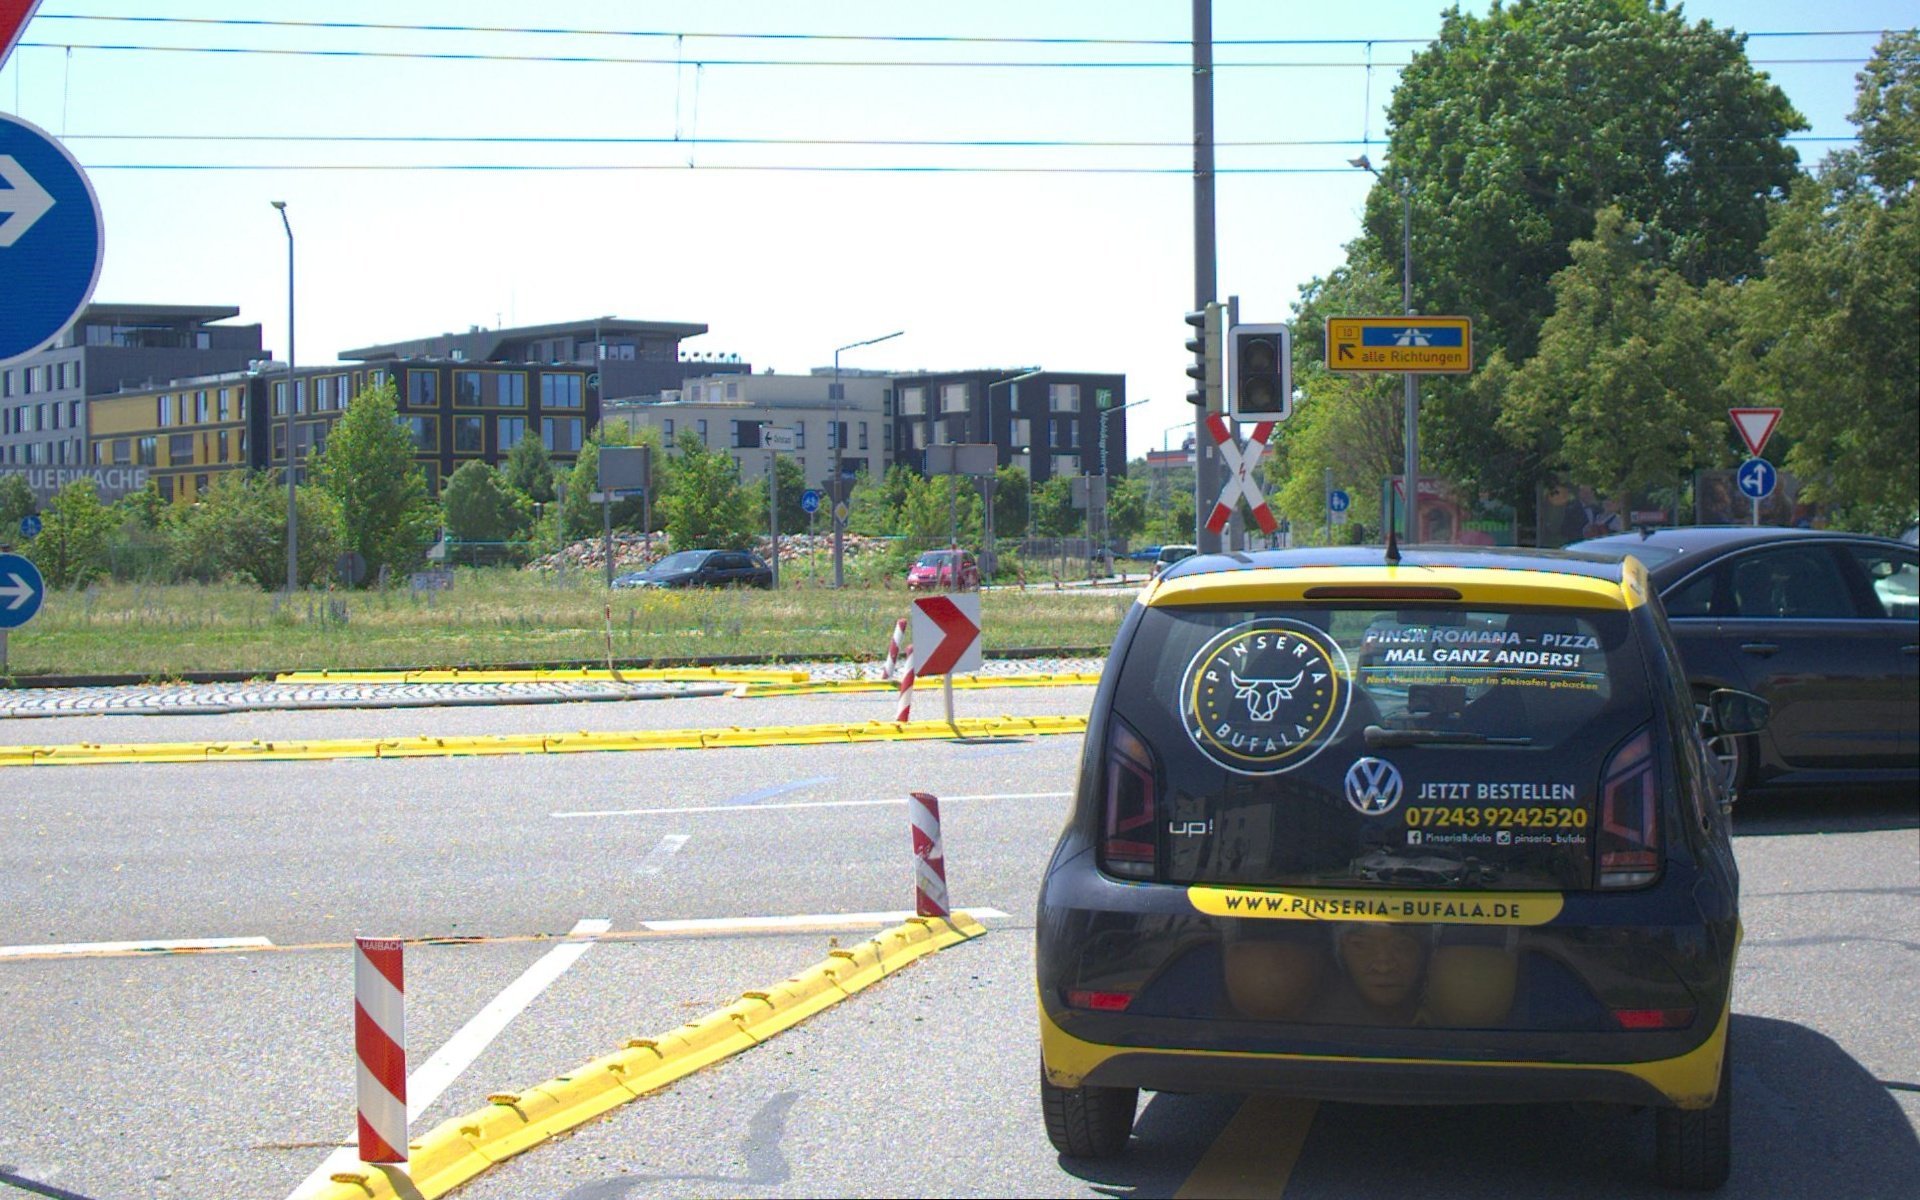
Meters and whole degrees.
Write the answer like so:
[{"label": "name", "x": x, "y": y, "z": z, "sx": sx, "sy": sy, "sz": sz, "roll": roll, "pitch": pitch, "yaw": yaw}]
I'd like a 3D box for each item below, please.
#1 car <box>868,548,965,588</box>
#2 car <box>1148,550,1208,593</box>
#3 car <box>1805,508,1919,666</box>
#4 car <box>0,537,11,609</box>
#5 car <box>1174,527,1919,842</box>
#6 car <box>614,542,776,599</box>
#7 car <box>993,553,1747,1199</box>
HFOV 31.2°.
[{"label": "car", "x": -1.232, "y": -0.927, "z": 98.893, "sx": 1.495, "sy": 1.086, "sz": 3.516, "roll": 0, "pitch": 1, "yaw": 24}, {"label": "car", "x": 7.272, "y": -0.960, "z": 114.493, "sx": 1.659, "sy": 1.368, "sz": 3.030, "roll": 0, "pitch": 1, "yaw": 10}, {"label": "car", "x": 10.309, "y": -0.164, "z": 33.922, "sx": 1.998, "sy": 1.481, "sz": 4.356, "roll": 0, "pitch": 1, "yaw": 42}, {"label": "car", "x": -21.506, "y": -0.531, "z": 69.706, "sx": 4.035, "sy": 1.456, "sz": 1.730, "roll": -1, "pitch": 1, "yaw": -32}, {"label": "car", "x": 3.632, "y": 0.353, "z": 17.774, "sx": 4.634, "sy": 1.444, "sz": 2.001, "roll": -1, "pitch": 1, "yaw": -23}, {"label": "car", "x": -6.395, "y": -0.726, "z": 83.516, "sx": 1.996, "sy": 1.314, "sz": 4.477, "roll": 0, "pitch": 1, "yaw": 25}, {"label": "car", "x": 1.257, "y": 0.609, "z": 9.449, "sx": 1.619, "sy": 1.446, "sz": 3.985, "roll": 1, "pitch": 1, "yaw": 11}]
